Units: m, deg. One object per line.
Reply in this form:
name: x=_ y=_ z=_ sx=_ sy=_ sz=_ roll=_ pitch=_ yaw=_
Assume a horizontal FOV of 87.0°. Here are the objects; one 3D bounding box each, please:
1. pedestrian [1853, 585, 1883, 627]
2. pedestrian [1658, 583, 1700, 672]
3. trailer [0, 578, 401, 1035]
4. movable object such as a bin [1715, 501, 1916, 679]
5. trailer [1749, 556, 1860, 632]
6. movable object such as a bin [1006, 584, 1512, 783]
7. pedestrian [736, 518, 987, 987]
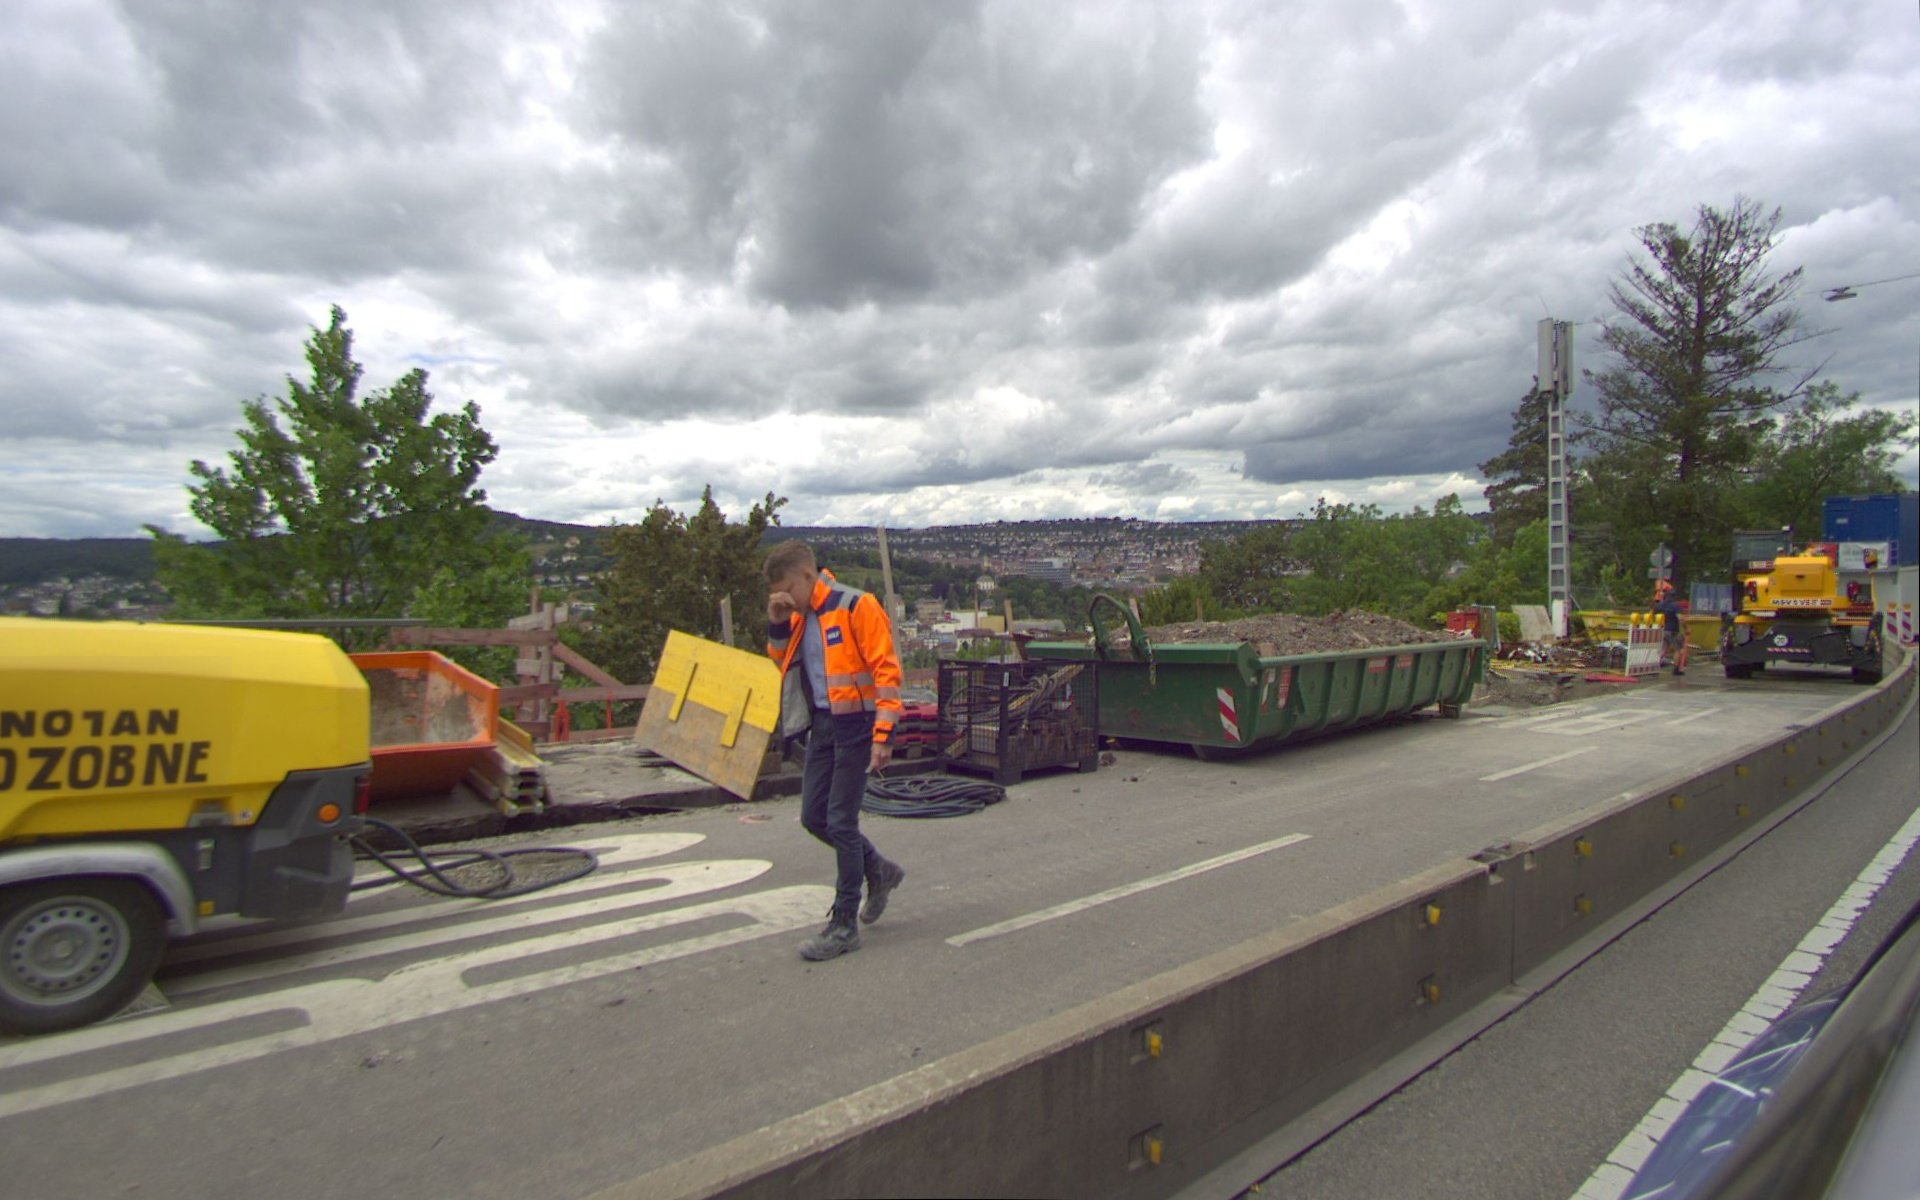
pedestrian: x=36.331 y=0.242 z=40.497 sx=0.640 sy=1.682 sz=0.647 roll=0 pitch=-1 yaw=14
pedestrian: x=14.987 y=0.568 z=21.113 sx=0.687 sy=1.817 sz=0.533 roll=1 pitch=-1 yaw=36
trailer: x=-4.028 y=0.670 z=3.466 sx=3.565 sy=1.493 sz=1.292 roll=0 pitch=0 yaw=-36
movable object such as a bin: x=18.280 y=-0.172 z=21.439 sx=2.811 sy=3.110 sz=7.700 roll=0 pitch=0 yaw=43
trailer: x=31.104 y=-0.257 z=37.214 sx=5.026 sy=2.581 sz=2.112 roll=0 pitch=3 yaw=-39
movable object such as a bin: x=3.749 y=0.644 z=11.356 sx=6.983 sy=1.581 sz=2.375 roll=0 pitch=0 yaw=-44
pedestrian: x=-0.409 y=0.561 z=4.255 sx=0.835 sy=1.723 sz=0.646 roll=1 pitch=-1 yaw=-42
